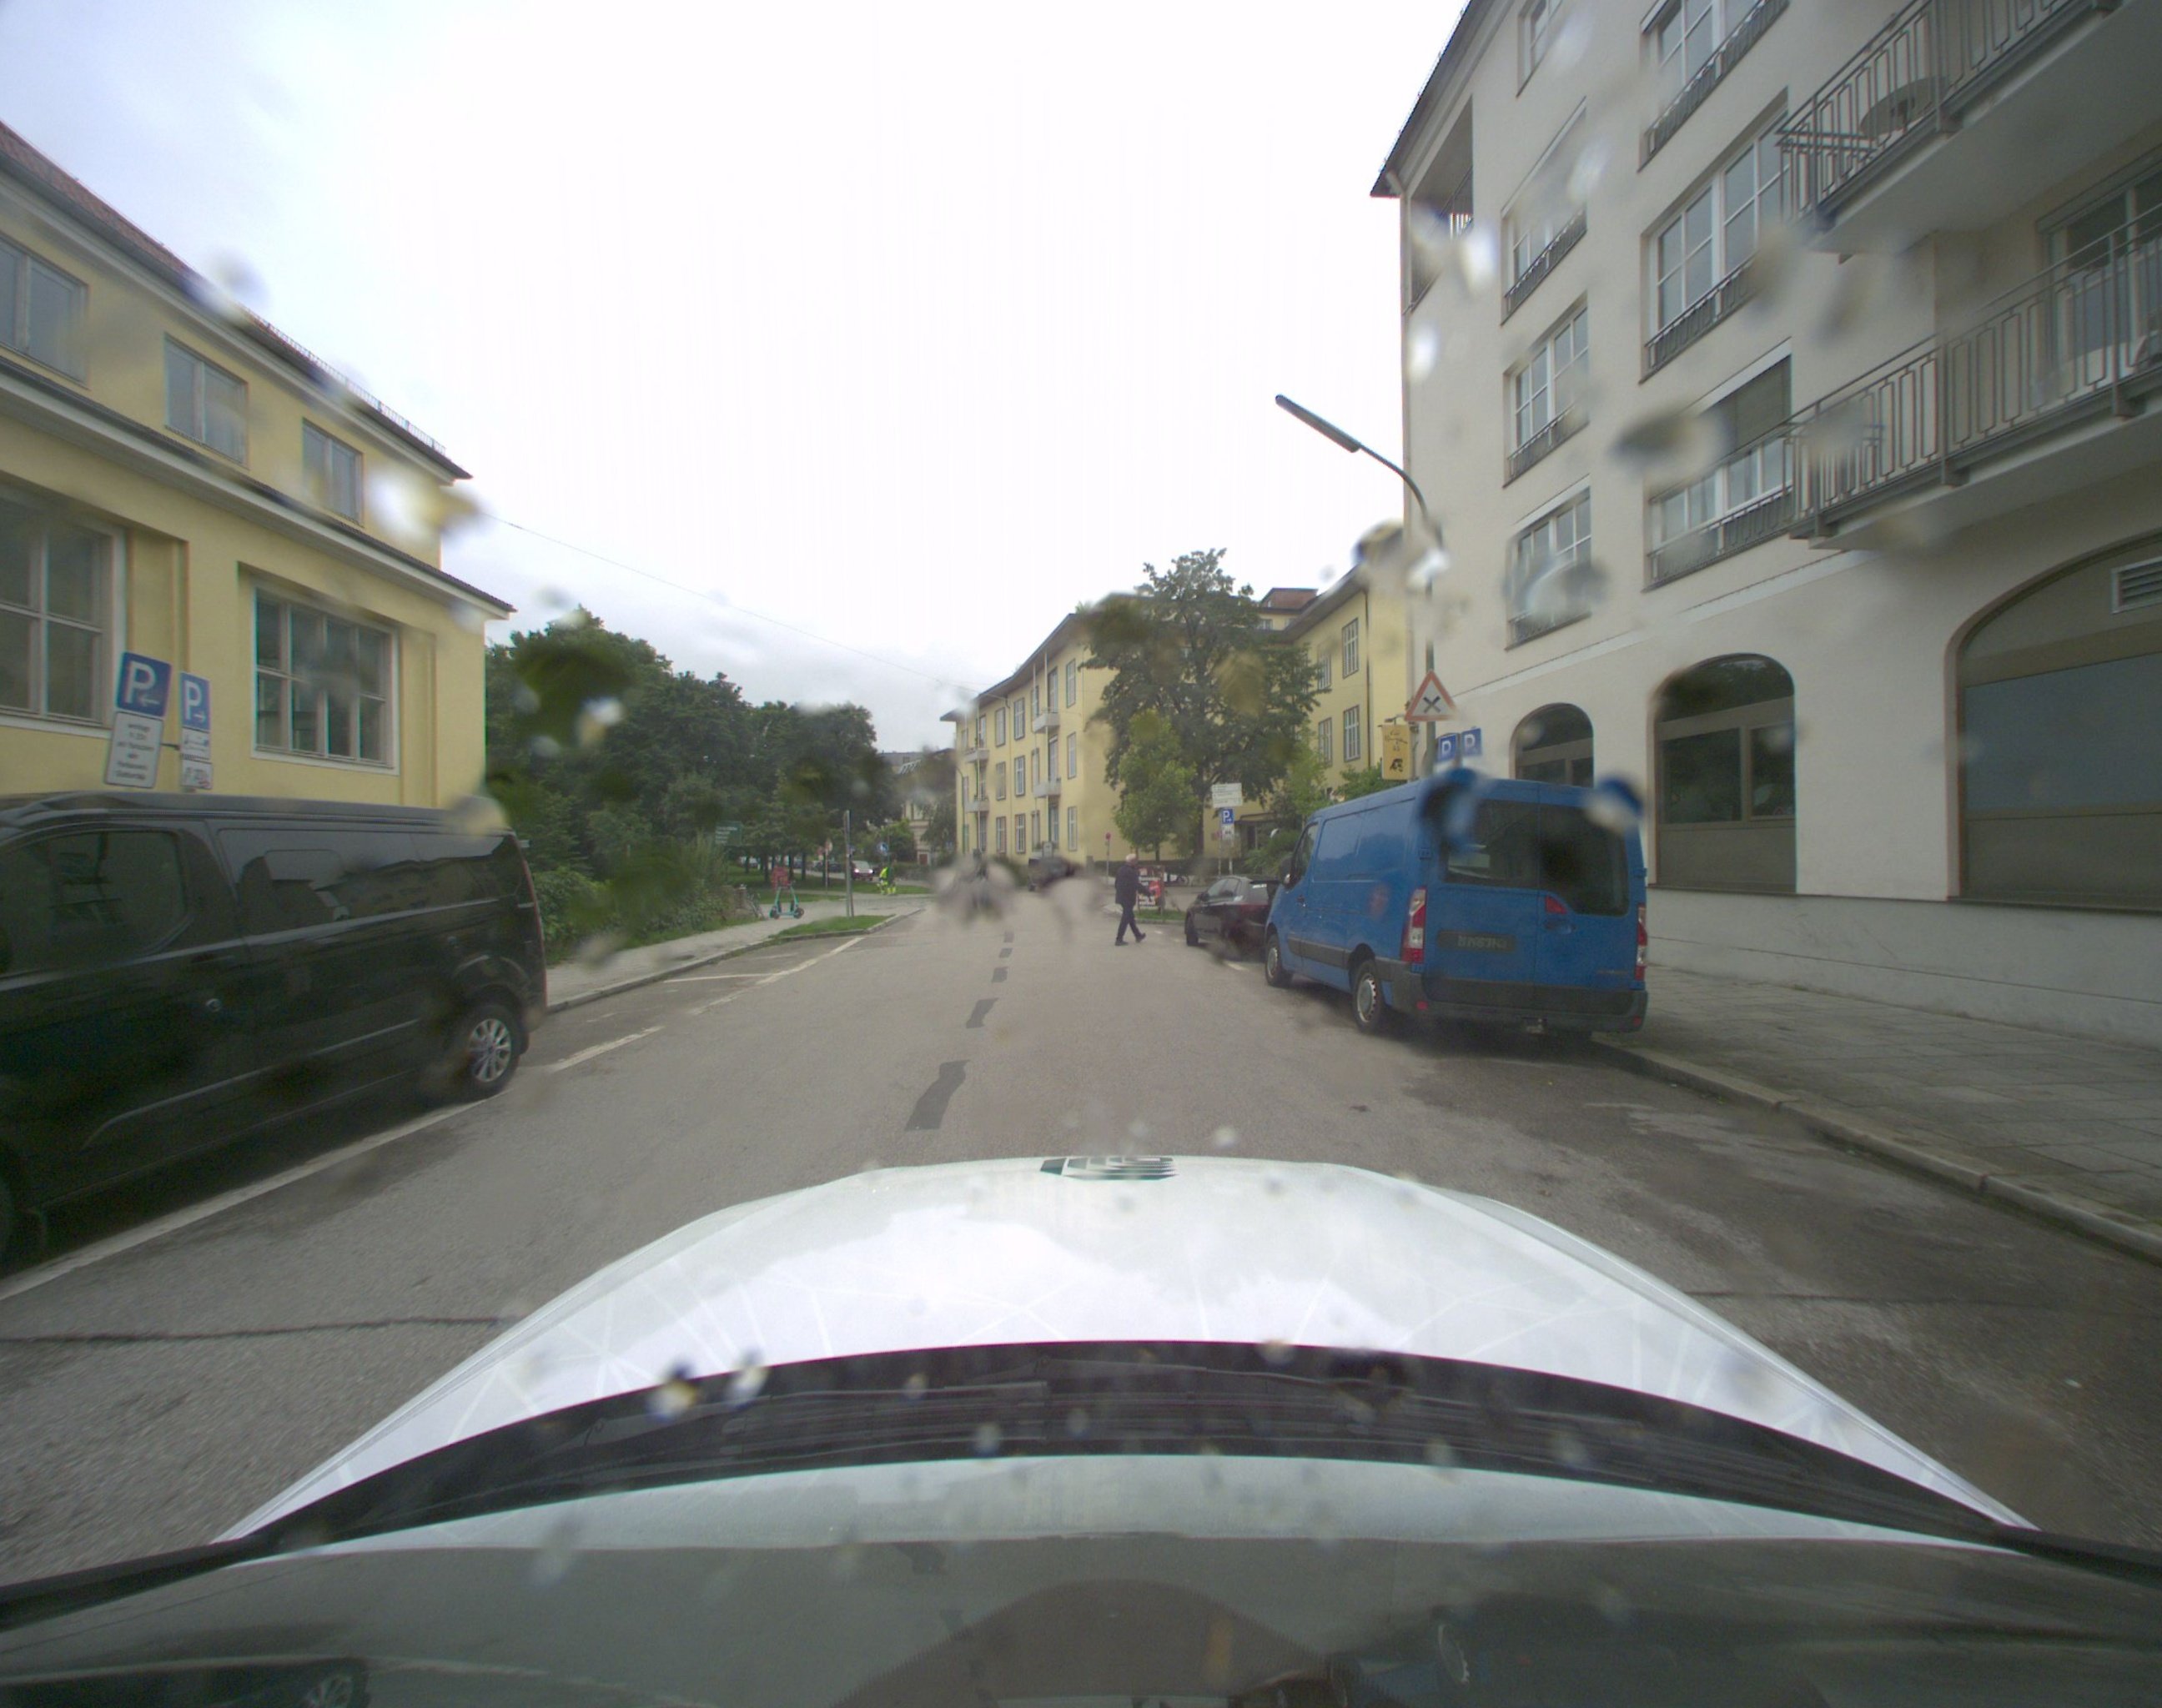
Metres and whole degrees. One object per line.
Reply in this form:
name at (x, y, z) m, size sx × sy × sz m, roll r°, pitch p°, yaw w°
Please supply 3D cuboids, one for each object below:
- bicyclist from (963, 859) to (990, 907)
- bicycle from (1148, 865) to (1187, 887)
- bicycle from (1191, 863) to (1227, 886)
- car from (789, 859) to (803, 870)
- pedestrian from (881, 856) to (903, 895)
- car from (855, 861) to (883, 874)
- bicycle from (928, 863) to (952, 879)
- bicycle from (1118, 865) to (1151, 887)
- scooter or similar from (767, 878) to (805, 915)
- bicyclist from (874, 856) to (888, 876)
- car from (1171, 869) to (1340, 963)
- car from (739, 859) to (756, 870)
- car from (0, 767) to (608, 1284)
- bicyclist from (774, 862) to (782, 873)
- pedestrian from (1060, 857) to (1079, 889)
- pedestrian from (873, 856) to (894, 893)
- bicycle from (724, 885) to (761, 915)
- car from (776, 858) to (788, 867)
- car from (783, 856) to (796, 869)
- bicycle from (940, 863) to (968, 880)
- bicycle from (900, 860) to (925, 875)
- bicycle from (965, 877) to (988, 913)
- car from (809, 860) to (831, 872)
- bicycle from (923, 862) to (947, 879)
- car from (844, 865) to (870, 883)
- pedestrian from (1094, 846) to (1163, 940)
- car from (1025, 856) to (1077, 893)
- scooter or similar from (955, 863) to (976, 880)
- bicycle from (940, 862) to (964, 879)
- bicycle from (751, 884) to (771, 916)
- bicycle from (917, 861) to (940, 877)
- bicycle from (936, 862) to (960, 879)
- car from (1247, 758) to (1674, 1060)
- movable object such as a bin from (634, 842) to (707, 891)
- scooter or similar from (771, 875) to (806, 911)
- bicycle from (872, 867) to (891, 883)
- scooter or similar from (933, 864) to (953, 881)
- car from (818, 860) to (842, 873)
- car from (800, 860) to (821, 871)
bicyclist at (-3.582, 0.987, 27.986) m, size 0.862 × 1.607 × 0.945 m, roll 0°, pitch -1°, yaw -5°
bicycle at (4.818, 1.202, 45.317) m, size 2.051 × 1.201 × 0.598 m, roll 0°, pitch 0°, yaw 18°
bicycle at (7.104, 1.134, 45.137) m, size 1.916 × 1.201 × 0.595 m, roll 0°, pitch 0°, yaw -1°
car at (-45.107, 1.676, 128.789) m, size 2.001 × 1.606 × 3.971 m, roll -1°, pitch -1°, yaw -21°
pedestrian at (-10.076, 1.138, 43.385) m, size 0.928 × 2.014 × 0.956 m, roll -1°, pitch 0°, yaw 0°
car at (-23.083, 1.428, 88.546) m, size 2.006 × 1.372 × 3.962 m, roll -1°, pitch -1°, yaw -29°
bicycle at (-11.690, 1.400, 67.741) m, size 0.725 × 1.305 × 2.169 m, roll -1°, pitch 0°, yaw 31°
bicycle at (3.031, 1.262, 46.628) m, size 1.903 × 1.201 × 0.599 m, roll 0°, pitch 0°, yaw 41°
scooter or similar at (-9.670, 1.395, 26.719) m, size 1.110 × 1.188 × 0.346 m, roll 0°, pitch 0°, yaw 5°
bicyclist at (-15.541, 0.917, 63.303) m, size 0.749 × 1.521 × 0.935 m, roll -1°, pitch -1°, yaw -35°
car at (3.046, 1.036, 15.161) m, size 1.675 × 1.389 × 4.294 m, roll 3°, pitch -1°, yaw -7°
car at (-51.385, 1.643, 125.496) m, size 2.006 × 1.691 × 3.962 m, roll -1°, pitch 0°, yaw -29°
car at (-5.181, 0.707, 4.432) m, size 2.067 × 1.964 × 5.347 m, roll -3°, pitch -1°, yaw -1°
bicyclist at (-39.521, 1.732, 106.170) m, size 0.800 × 1.470 × 0.885 m, roll 0°, pitch 0°, yaw -29°
pedestrian at (-0.672, 1.059, 46.134) m, size 0.876 × 1.823 × 0.794 m, roll 0°, pitch 0°, yaw -16°
pedestrian at (-10.892, 1.118, 44.874) m, size 0.928 × 2.014 × 0.956 m, roll -1°, pitch 0°, yaw 0°
bicycle at (-11.386, 1.532, 27.388) m, size 1.563 × 0.990 × 0.303 m, roll -2°, pitch -1°, yaw 34°
car at (-54.038, 1.582, 147.300) m, size 2.001 × 1.606 × 3.971 m, roll -1°, pitch -1°, yaw -21°
car at (-49.044, 1.423, 137.034) m, size 2.001 × 2.159 × 3.971 m, roll -1°, pitch -1°, yaw -21°
bicycle at (-9.971, 1.384, 63.960) m, size 2.168 × 1.305 × 0.726 m, roll 0°, pitch 0°, yaw -42°
bicycle at (-15.690, 1.261, 75.756) m, size 2.157 × 1.305 × 0.729 m, roll 0°, pitch 0°, yaw -22°
bicycle at (-3.564, 1.367, 27.882) m, size 0.669 × 1.159 × 2.000 m, roll 0°, pitch -1°, yaw -5°
car at (-35.439, 1.618, 110.433) m, size 2.007 × 1.606 × 3.960 m, roll 0°, pitch -1°, yaw -31°
bicycle at (-12.280, 1.380, 68.387) m, size 0.725 × 1.305 × 2.169 m, roll -1°, pitch 0°, yaw 31°
car at (-20.111, 1.776, 72.874) m, size 1.921 × 1.471 × 3.973 m, roll 0°, pitch 0°, yaw -20°
pedestrian at (0.958, 0.779, 16.329) m, size 0.962 × 1.801 × 0.924 m, roll 1°, pitch -4°, yaw -42°
car at (-1.752, 1.093, 45.997) m, size 1.767 × 1.874 × 4.353 m, roll 4°, pitch -1°, yaw -17°
scooter or similar at (-8.955, 1.343, 63.132) m, size 0.726 × 1.305 × 2.167 m, roll -1°, pitch 0°, yaw 19°
bicycle at (-10.443, 1.330, 66.034) m, size 0.725 × 1.305 × 2.169 m, roll -1°, pitch 0°, yaw 31°
bicycle at (-10.316, 1.470, 26.240) m, size 0.544 × 0.974 × 1.145 m, roll -1°, pitch -1°, yaw -25°
bicycle at (-13.110, 1.281, 70.069) m, size 0.725 × 1.305 × 2.169 m, roll -1°, pitch 0°, yaw 31°
bicycle at (-10.911, 1.327, 66.852) m, size 0.725 × 1.305 × 2.169 m, roll -1°, pitch 0°, yaw 31°
car at (3.513, 0.521, 8.960) m, size 2.073 × 2.234 × 5.240 m, roll 4°, pitch -2°, yaw -2°
movable object such as a bin at (-28.349, 0.842, 56.329) m, size 1.974 × 3.213 × 4.025 m, roll -2°, pitch 0°, yaw 30°
scooter or similar at (-9.853, 1.304, 27.494) m, size 0.341 × 1.188 × 1.126 m, roll -1°, pitch 0°, yaw 34°
bicycle at (-15.513, 1.596, 63.297) m, size 0.749 × 1.215 × 2.121 m, roll -1°, pitch 0°, yaw -35°
scooter or similar at (-11.352, 1.513, 67.196) m, size 0.725 × 1.305 × 1.741 m, roll -1°, pitch 0°, yaw 28°
car at (-32.592, 1.601, 105.625) m, size 2.007 × 1.606 × 3.960 m, roll 0°, pitch -1°, yaw -31°
car at (-38.306, 1.635, 115.236) m, size 2.007 × 1.606 × 3.960 m, roll 0°, pitch -1°, yaw -31°
